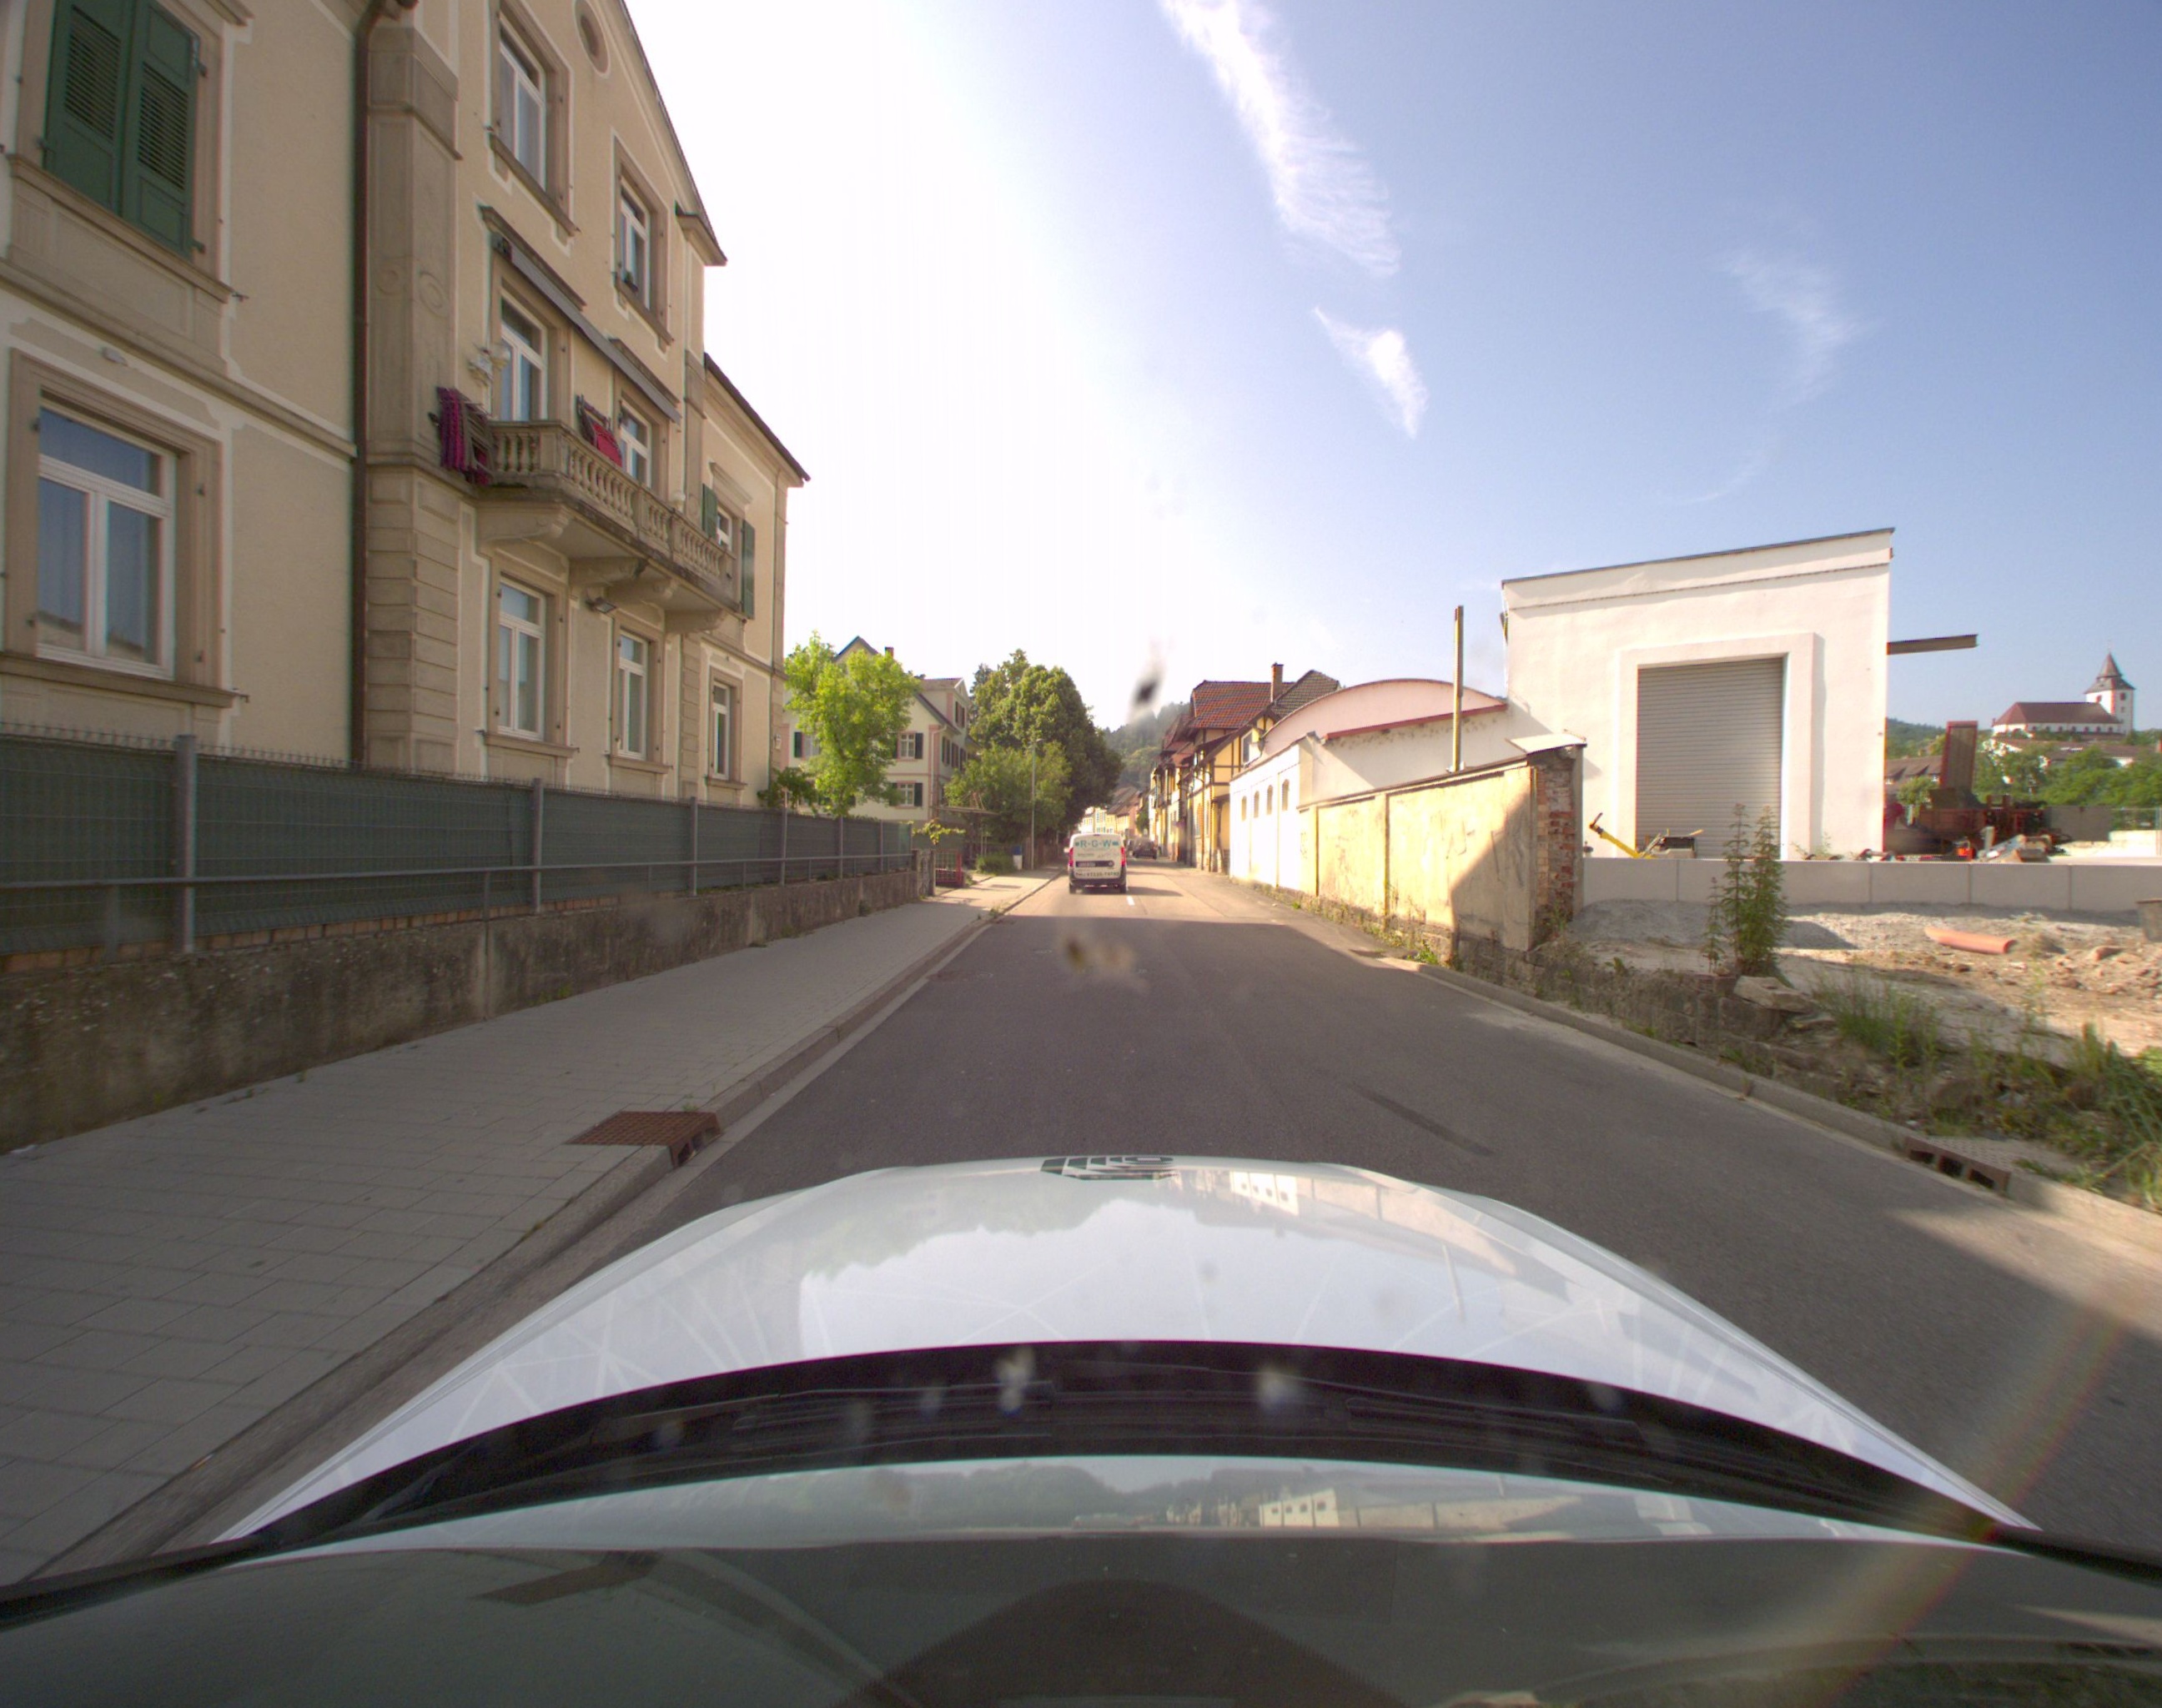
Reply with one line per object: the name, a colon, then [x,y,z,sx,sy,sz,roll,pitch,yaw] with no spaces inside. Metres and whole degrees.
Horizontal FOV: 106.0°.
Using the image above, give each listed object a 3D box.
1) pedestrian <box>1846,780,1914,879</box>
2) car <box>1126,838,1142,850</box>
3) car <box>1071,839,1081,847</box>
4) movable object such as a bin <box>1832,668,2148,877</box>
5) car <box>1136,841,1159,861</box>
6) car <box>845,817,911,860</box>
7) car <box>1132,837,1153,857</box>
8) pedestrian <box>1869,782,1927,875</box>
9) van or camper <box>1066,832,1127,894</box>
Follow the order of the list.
pedestrian: [15.885,-0.483,16.198,0.605,1.896,0.635,3,1,-6]
car: [6.454,-1.226,99.746,1.664,1.508,4.000,0,1,0]
car: [-1.256,-2.650,198.920,1.771,1.798,3.987,1,1,-10]
movable object such as a bin: [18.653,-1.465,17.274,2.823,3.621,5.772,4,1,32]
car: [5.913,-0.310,73.136,1.803,1.596,3.929,3,1,2]
car: [-9.514,-0.733,38.546,1.817,1.772,4.682,4,1,0]
car: [6.234,-0.736,83.327,1.864,2.013,4.001,2,1,1]
pedestrian: [17.024,-0.527,16.974,0.610,1.896,0.630,2,1,-32]
van or camper: [0.491,0.236,26.251,1.822,1.844,4.189,0,1,1]
